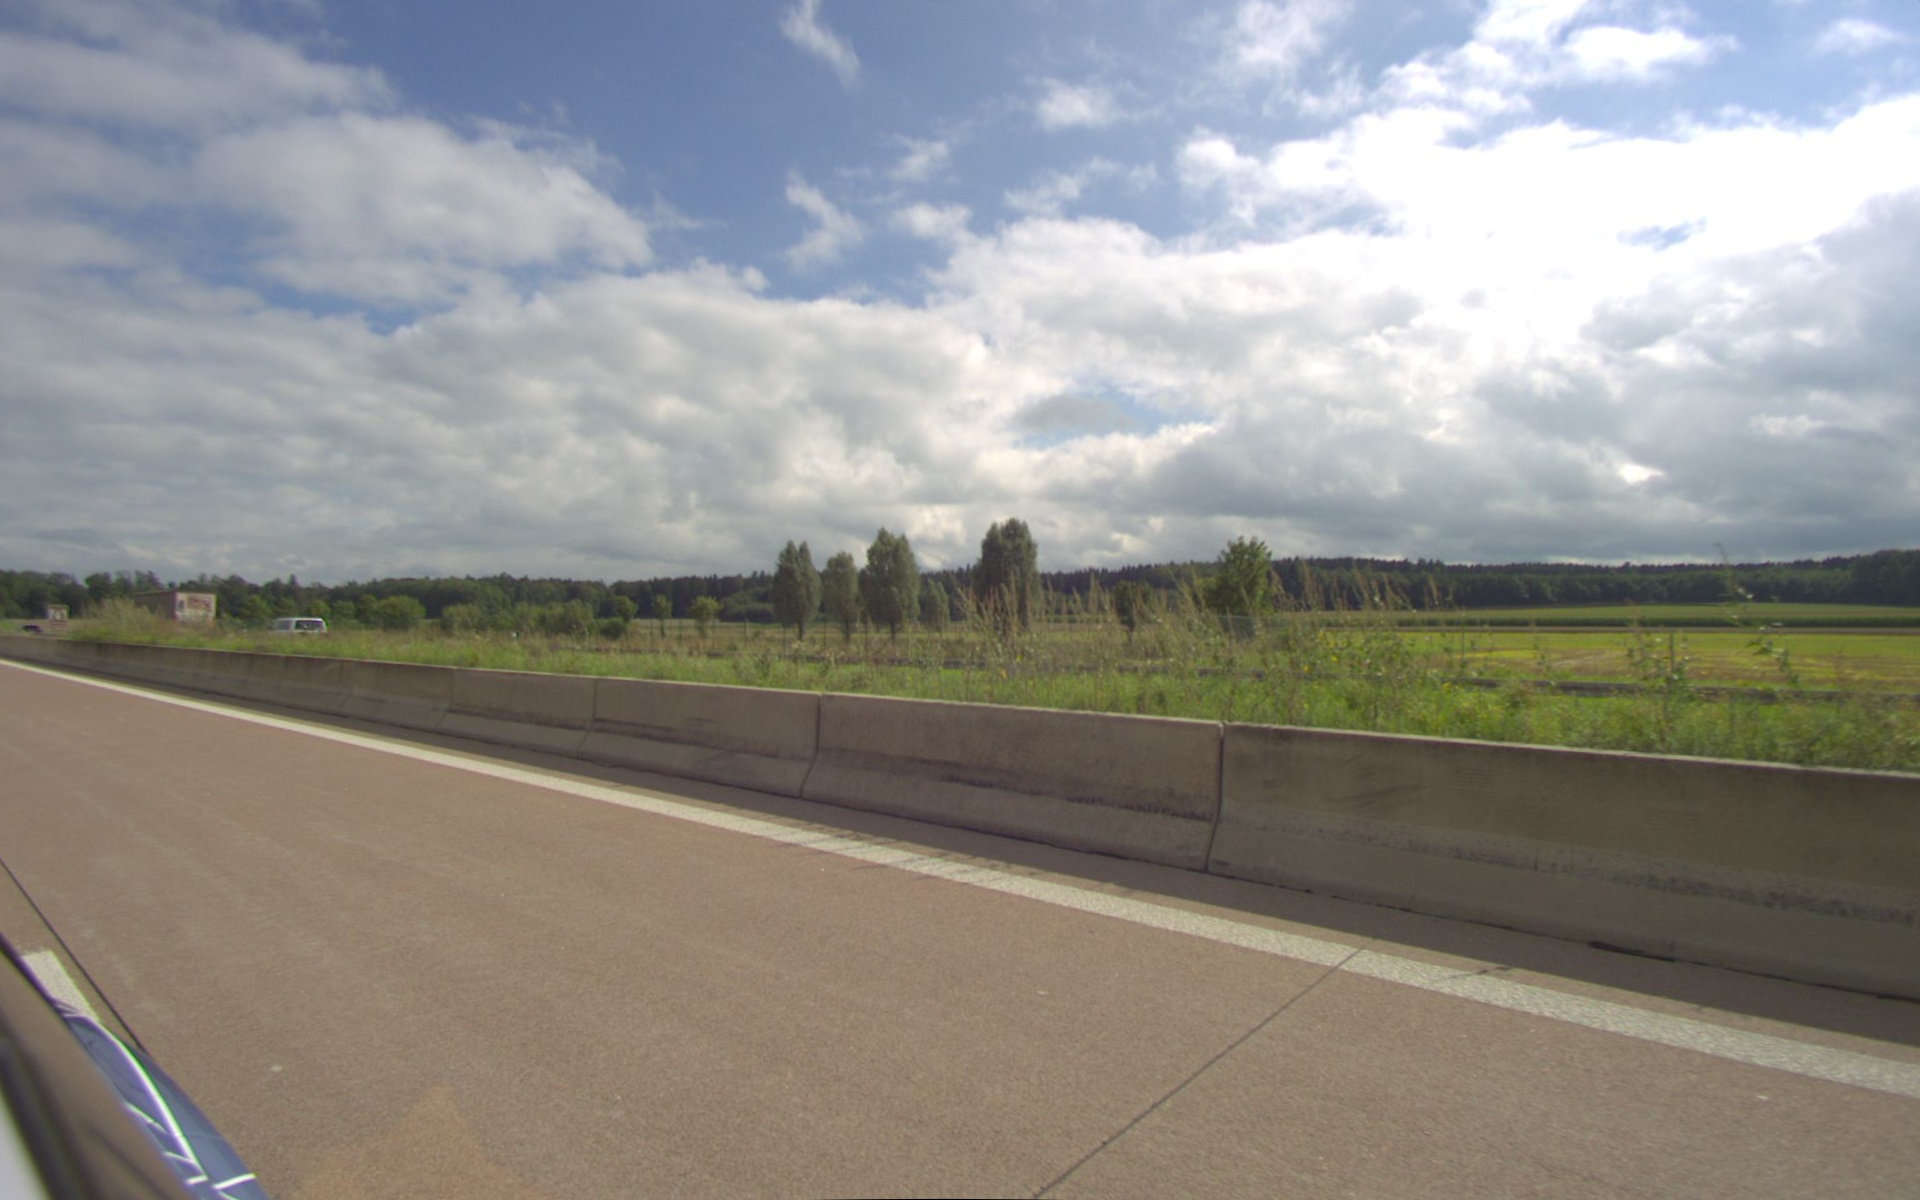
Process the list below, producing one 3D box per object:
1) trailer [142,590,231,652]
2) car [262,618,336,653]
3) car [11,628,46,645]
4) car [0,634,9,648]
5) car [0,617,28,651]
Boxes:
[{"bbox_3d":[-57.670,1.555,75.265,12.089,4.296,2.990,-2,0,42],"label":"trailer"},{"bbox_3d":[-37.664,2.007,57.632,5.725,1.860,2.037,-1,-2,41],"label":"car"},{"bbox_3d":[-93.398,3.674,101.460,5.215,1.587,1.973,-2,0,41],"label":"car"},{"bbox_3d":[-118.482,5.048,124.247,4.487,1.675,1.953,-1,0,40],"label":"car"},{"bbox_3d":[-50.263,1.778,52.805,4.080,1.675,1.952,-2,0,41],"label":"car"}]
